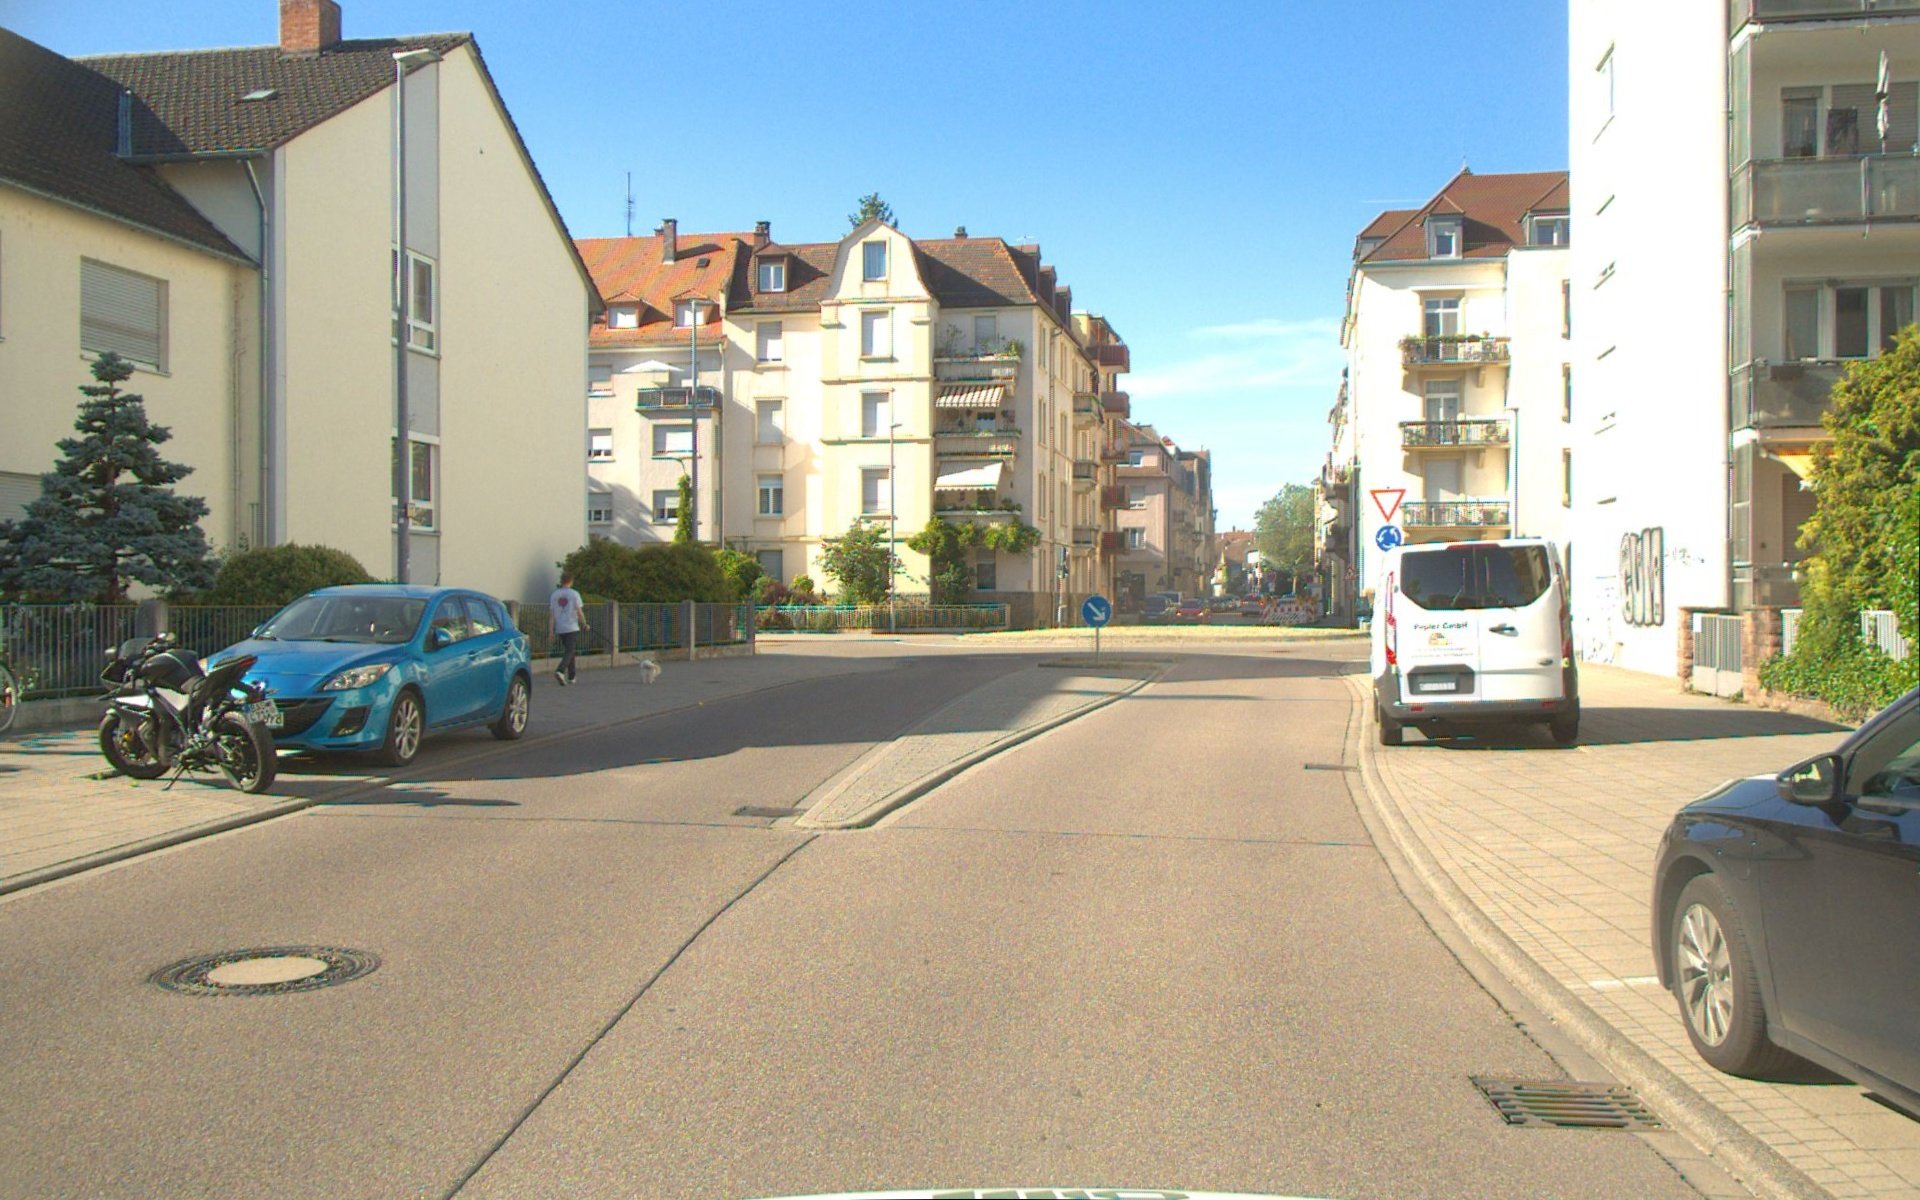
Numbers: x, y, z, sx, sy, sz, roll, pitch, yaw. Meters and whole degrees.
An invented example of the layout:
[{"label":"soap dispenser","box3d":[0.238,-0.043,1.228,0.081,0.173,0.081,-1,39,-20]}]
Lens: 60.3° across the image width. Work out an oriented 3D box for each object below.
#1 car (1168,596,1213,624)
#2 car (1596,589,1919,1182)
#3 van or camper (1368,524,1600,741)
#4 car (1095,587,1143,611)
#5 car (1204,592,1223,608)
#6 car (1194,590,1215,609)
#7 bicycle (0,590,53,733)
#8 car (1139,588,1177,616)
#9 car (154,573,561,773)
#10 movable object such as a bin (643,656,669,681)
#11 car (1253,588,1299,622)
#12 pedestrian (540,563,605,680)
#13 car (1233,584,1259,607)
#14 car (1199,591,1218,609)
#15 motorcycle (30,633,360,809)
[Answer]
[{"label":"car","box3d":[12.394,0.536,88.860,1.704,1.378,3.670,-1,-2,20]},{"label":"car","box3d":[3.217,0.705,4.051,1.682,1.433,4.315,-3,0,1]},{"label":"van or camper","box3d":[5.511,0.302,17.954,1.977,1.981,4.707,-2,0,13]},{"label":"car","box3d":[13.674,-0.116,142.098,3.819,2.049,1.764,0,0,19]},{"label":"car","box3d":[25.638,-0.016,167.195,1.951,1.657,4.003,0,0,9]},{"label":"car","box3d":[22.106,-0.098,149.425,1.599,1.685,3.674,0,0,12]},{"label":"bicycle","box3d":[-8.805,0.541,14.585,0.447,1.272,1.928,0,-2,3]},{"label":"car","box3d":[11.418,0.092,95.091,1.951,1.559,4.004,0,0,10]},{"label":"car","box3d":[-5.167,0.546,14.884,1.760,1.499,4.333,1,0,5]},{"label":"movable object such as a bin","box3d":[-4.717,1.058,25.658,0.215,0.354,0.521,1,0,13]},{"label":"car","box3d":[17.763,0.262,92.897,2.379,1.843,4.727,0,0,12]},{"label":"pedestrian","box3d":[-5.846,0.335,24.978,0.668,1.733,0.825,-1,-3,12]},{"label":"car","box3d":[22.059,-0.358,127.373,1.951,1.769,4.004,0,0,10]},{"label":"car","box3d":[24.073,0.025,160.171,1.599,1.685,3.674,0,0,12]},{"label":"motorcycle","box3d":[-5.482,0.829,11.887,2.014,1.037,0.948,3,2,17]}]
